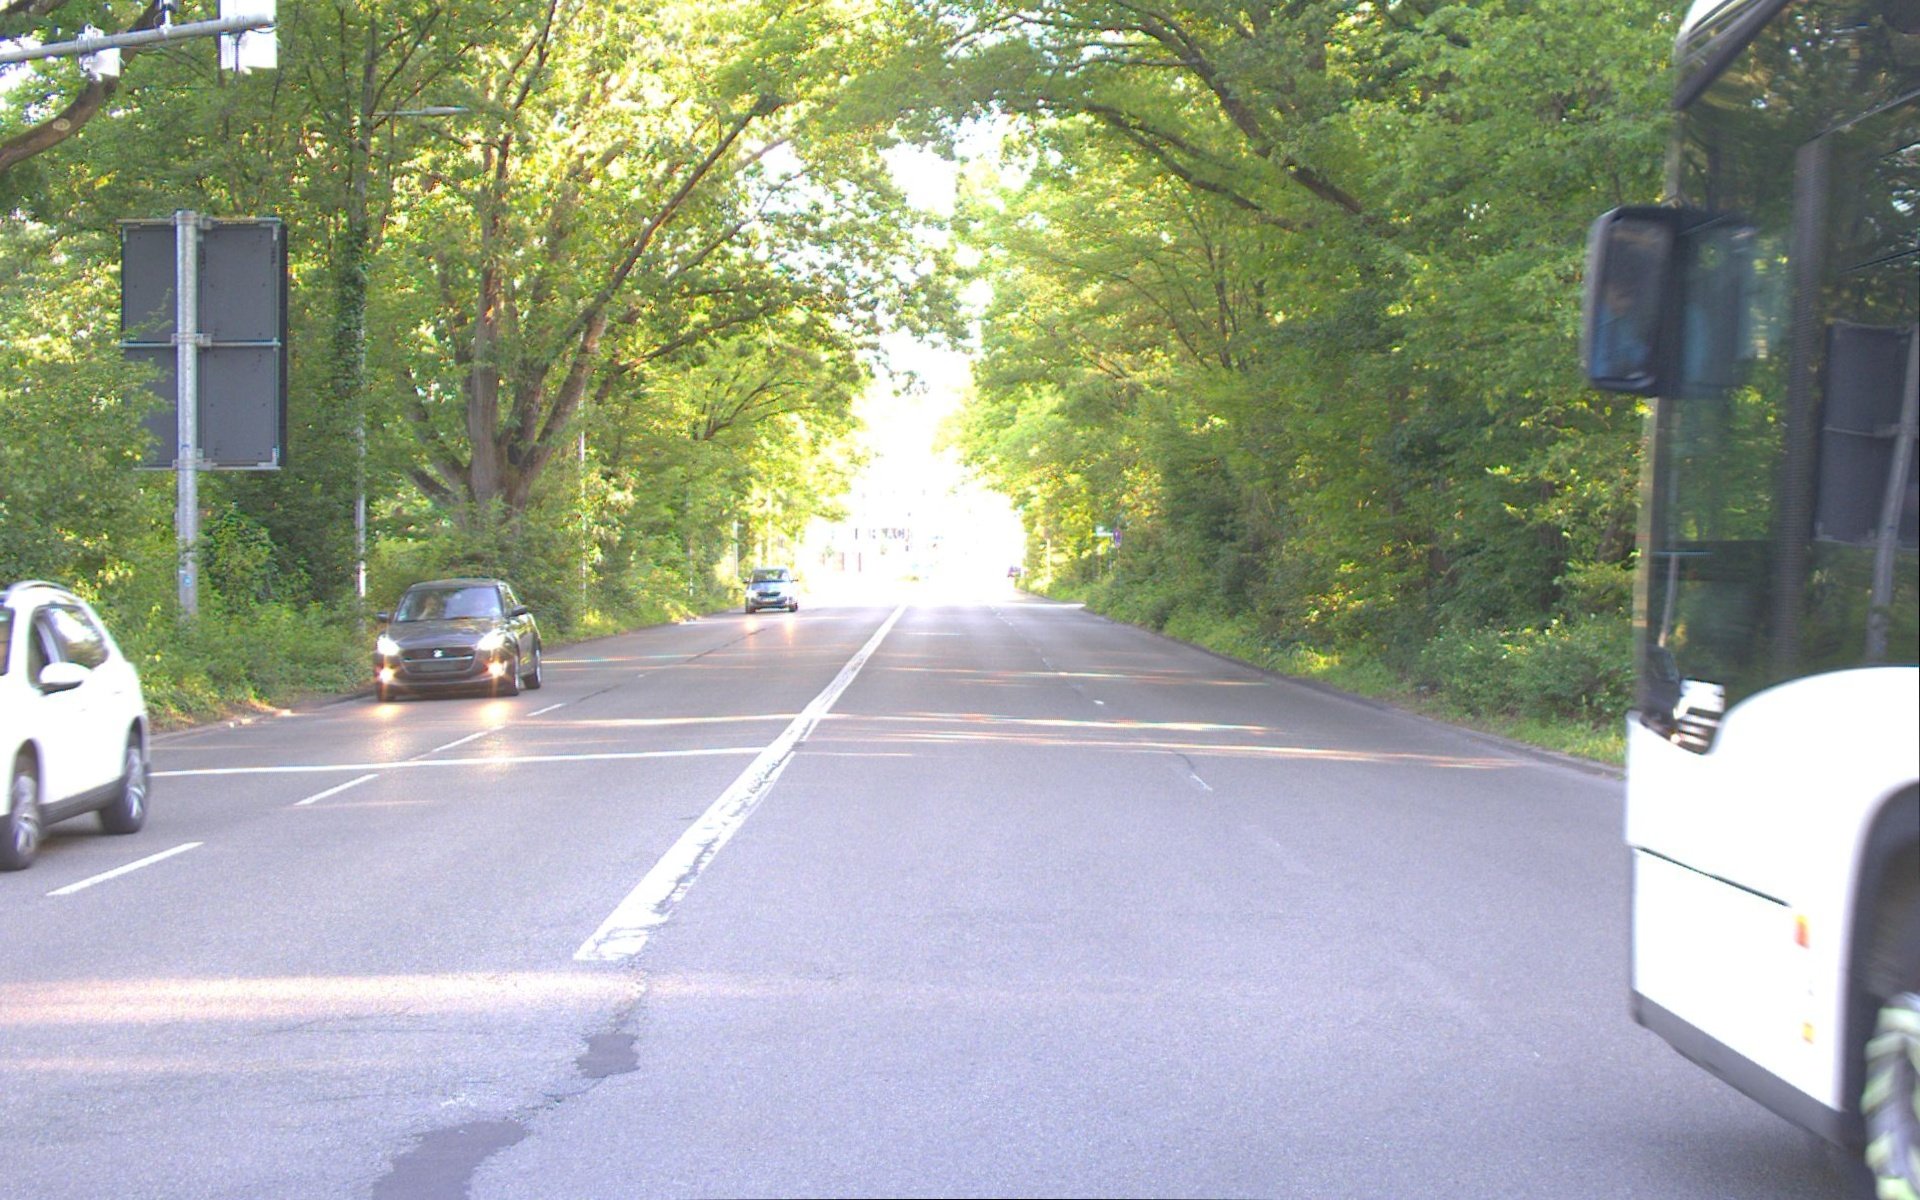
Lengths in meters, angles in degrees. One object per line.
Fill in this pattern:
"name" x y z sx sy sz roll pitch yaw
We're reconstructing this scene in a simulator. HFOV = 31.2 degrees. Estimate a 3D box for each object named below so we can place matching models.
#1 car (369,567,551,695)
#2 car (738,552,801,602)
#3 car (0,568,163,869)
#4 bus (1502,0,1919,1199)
"car" -6.191 0.356 42.884 1.707 1.448 3.640 -2 1 0
"car" -6.279 -0.775 113.540 1.806 1.574 4.319 -2 1 0
"car" -5.776 0.623 19.275 1.677 1.518 3.902 -2 1 0
"bus" 3.153 -0.188 3.474 3.012 3.077 12.271 2 1 -1
